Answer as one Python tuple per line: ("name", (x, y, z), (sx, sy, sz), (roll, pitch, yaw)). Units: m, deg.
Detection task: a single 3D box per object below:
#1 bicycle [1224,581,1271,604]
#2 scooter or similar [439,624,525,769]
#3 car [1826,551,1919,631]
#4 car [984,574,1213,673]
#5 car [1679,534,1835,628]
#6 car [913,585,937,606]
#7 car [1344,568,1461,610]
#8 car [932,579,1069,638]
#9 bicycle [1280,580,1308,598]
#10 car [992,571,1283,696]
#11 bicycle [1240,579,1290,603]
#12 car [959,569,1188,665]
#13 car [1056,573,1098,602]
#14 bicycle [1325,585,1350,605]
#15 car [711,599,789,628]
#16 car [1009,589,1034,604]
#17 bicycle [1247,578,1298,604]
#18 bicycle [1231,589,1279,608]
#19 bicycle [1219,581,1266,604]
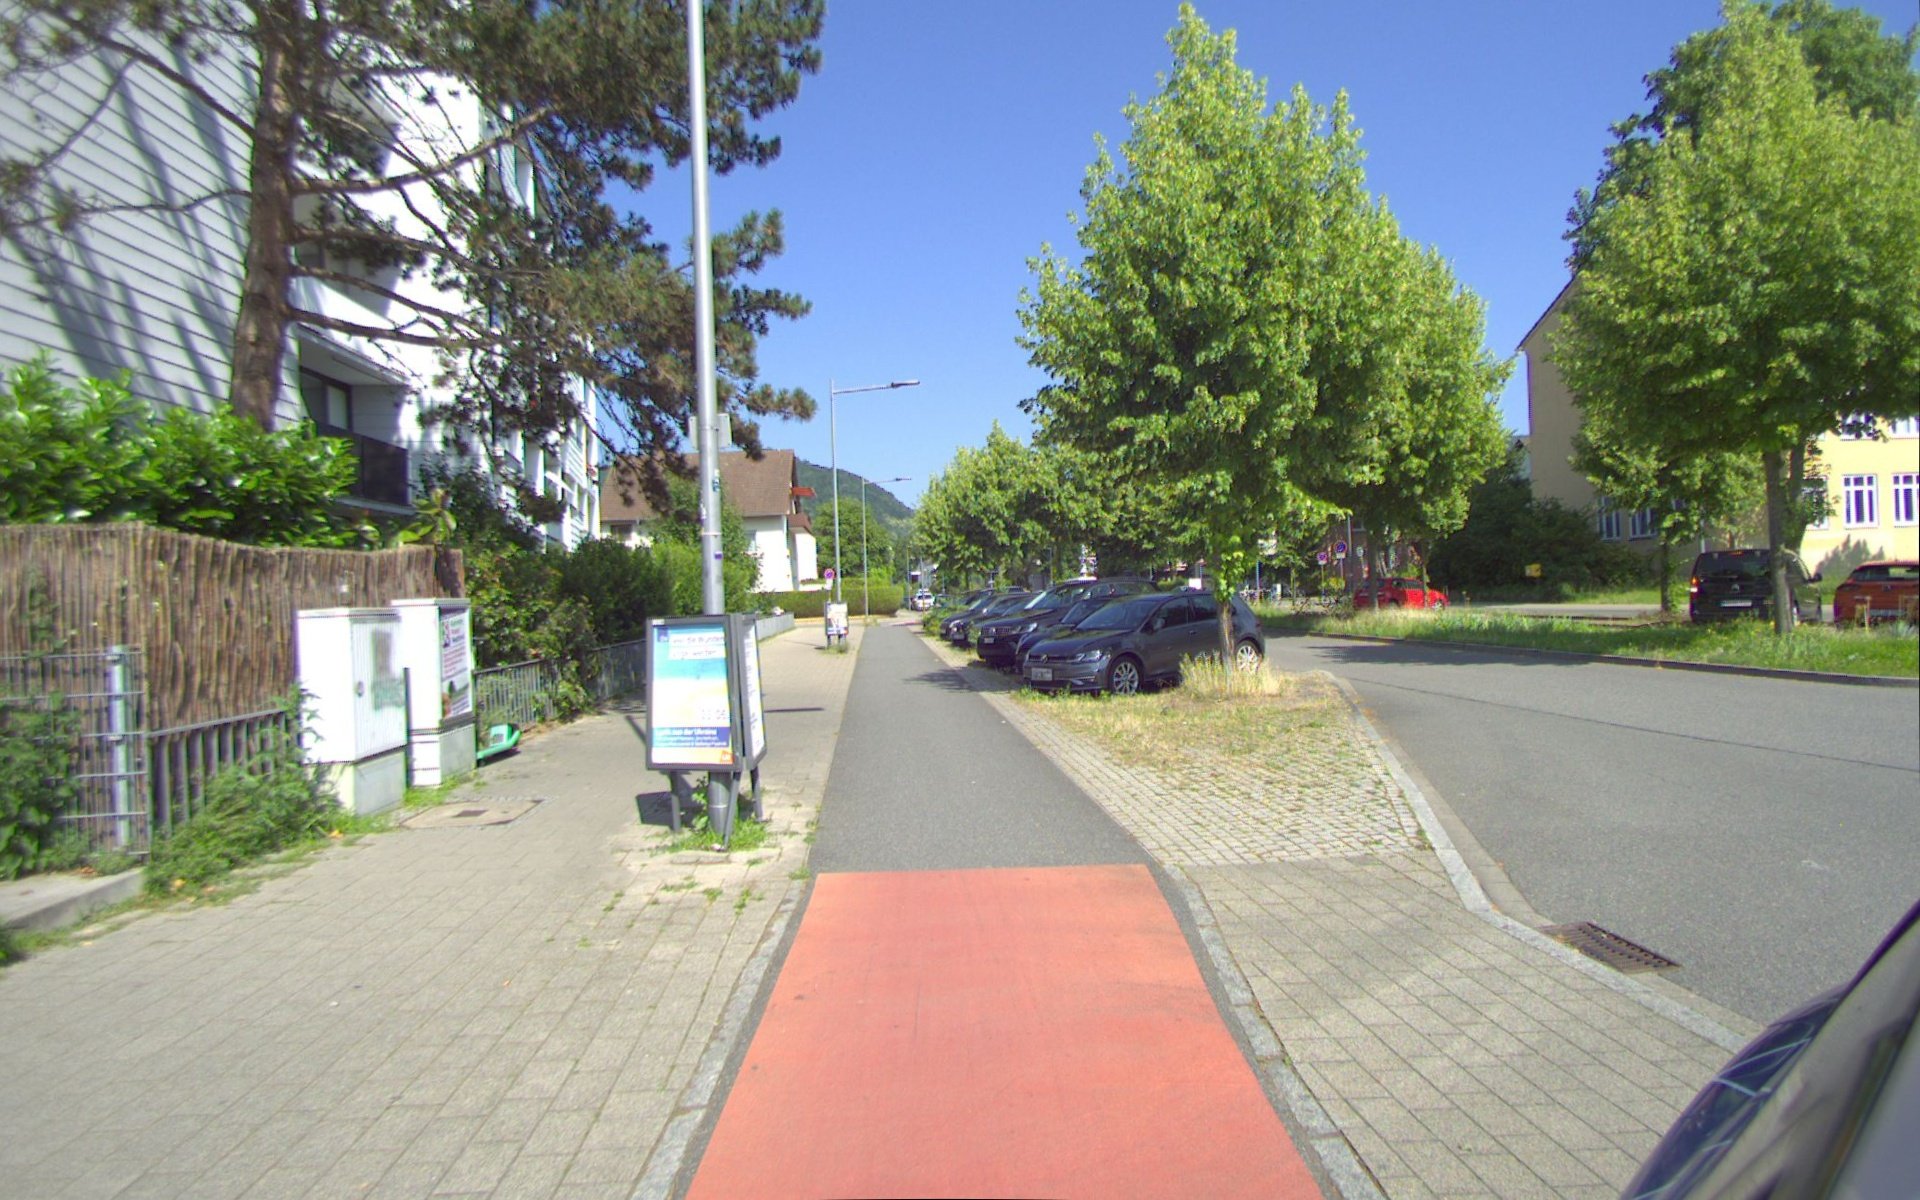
("bicycle", (16.621, -0.453, 58.520), (2.501, 1.255, 0.740), (-1, -1, -7))
("scooter or similar", (-4.224, 0.824, 8.987), (0.227, 1.181, 0.957), (-3, 0, 2))
("car", (18.562, -0.203, 19.603), (3.704, 1.446, 1.855), (-2, -1, -36))
("car", (2.567, 0.381, 18.435), (3.925, 1.492, 1.769), (-3, 0, -34))
("car", (17.590, -0.410, 22.265), (4.118, 1.839, 2.000), (-2, -1, -42))
("car", (-3.454, -0.417, 98.301), (1.732, 1.849, 4.605), (-4, 1, -8))
("car", (16.993, -0.431, 38.862), (3.918, 1.485, 2.003), (-1, -1, -25))
("car", (1.288, 0.256, 32.270), (3.918, 1.660, 1.803), (-3, 0, -24))
("bicycle", (22.462, -0.729, 68.115), (1.705, 1.094, 0.373), (-3, -1, 37))
("car", (2.753, 0.436, 15.495), (4.038, 1.549, 2.001), (-3, 0, -32))
("bicycle", (16.867, -0.484, 55.968), (2.472, 1.272, 0.740), (-1, -1, -7))
("car", (2.420, 0.301, 20.938), (4.657, 1.681, 1.752), (-3, 0, -35))
("car", (11.077, -1.144, 96.139), (2.052, 2.528, 5.963), (-1, -1, -13))
("bicycle", (17.851, -0.254, 47.861), (0.511, 0.914, 1.273), (-1, 0, -10))
("car", (-11.826, 0.756, 57.112), (4.047, 1.416, 1.811), (-2, -3, -4))
("car", (6.796, -0.337, 112.520), (1.690, 1.579, 4.007), (-1, -1, -12))
("bicycle", (16.956, -0.477, 54.920), (2.501, 1.272, 0.740), (-3, 0, -7))
("bicycle", (16.718, -0.103, 57.344), (2.501, 1.000, 0.740), (-1, -1, -7))
("bicycle", (16.605, -0.448, 59.500), (2.501, 1.272, 0.740), (-1, -1, -7))
